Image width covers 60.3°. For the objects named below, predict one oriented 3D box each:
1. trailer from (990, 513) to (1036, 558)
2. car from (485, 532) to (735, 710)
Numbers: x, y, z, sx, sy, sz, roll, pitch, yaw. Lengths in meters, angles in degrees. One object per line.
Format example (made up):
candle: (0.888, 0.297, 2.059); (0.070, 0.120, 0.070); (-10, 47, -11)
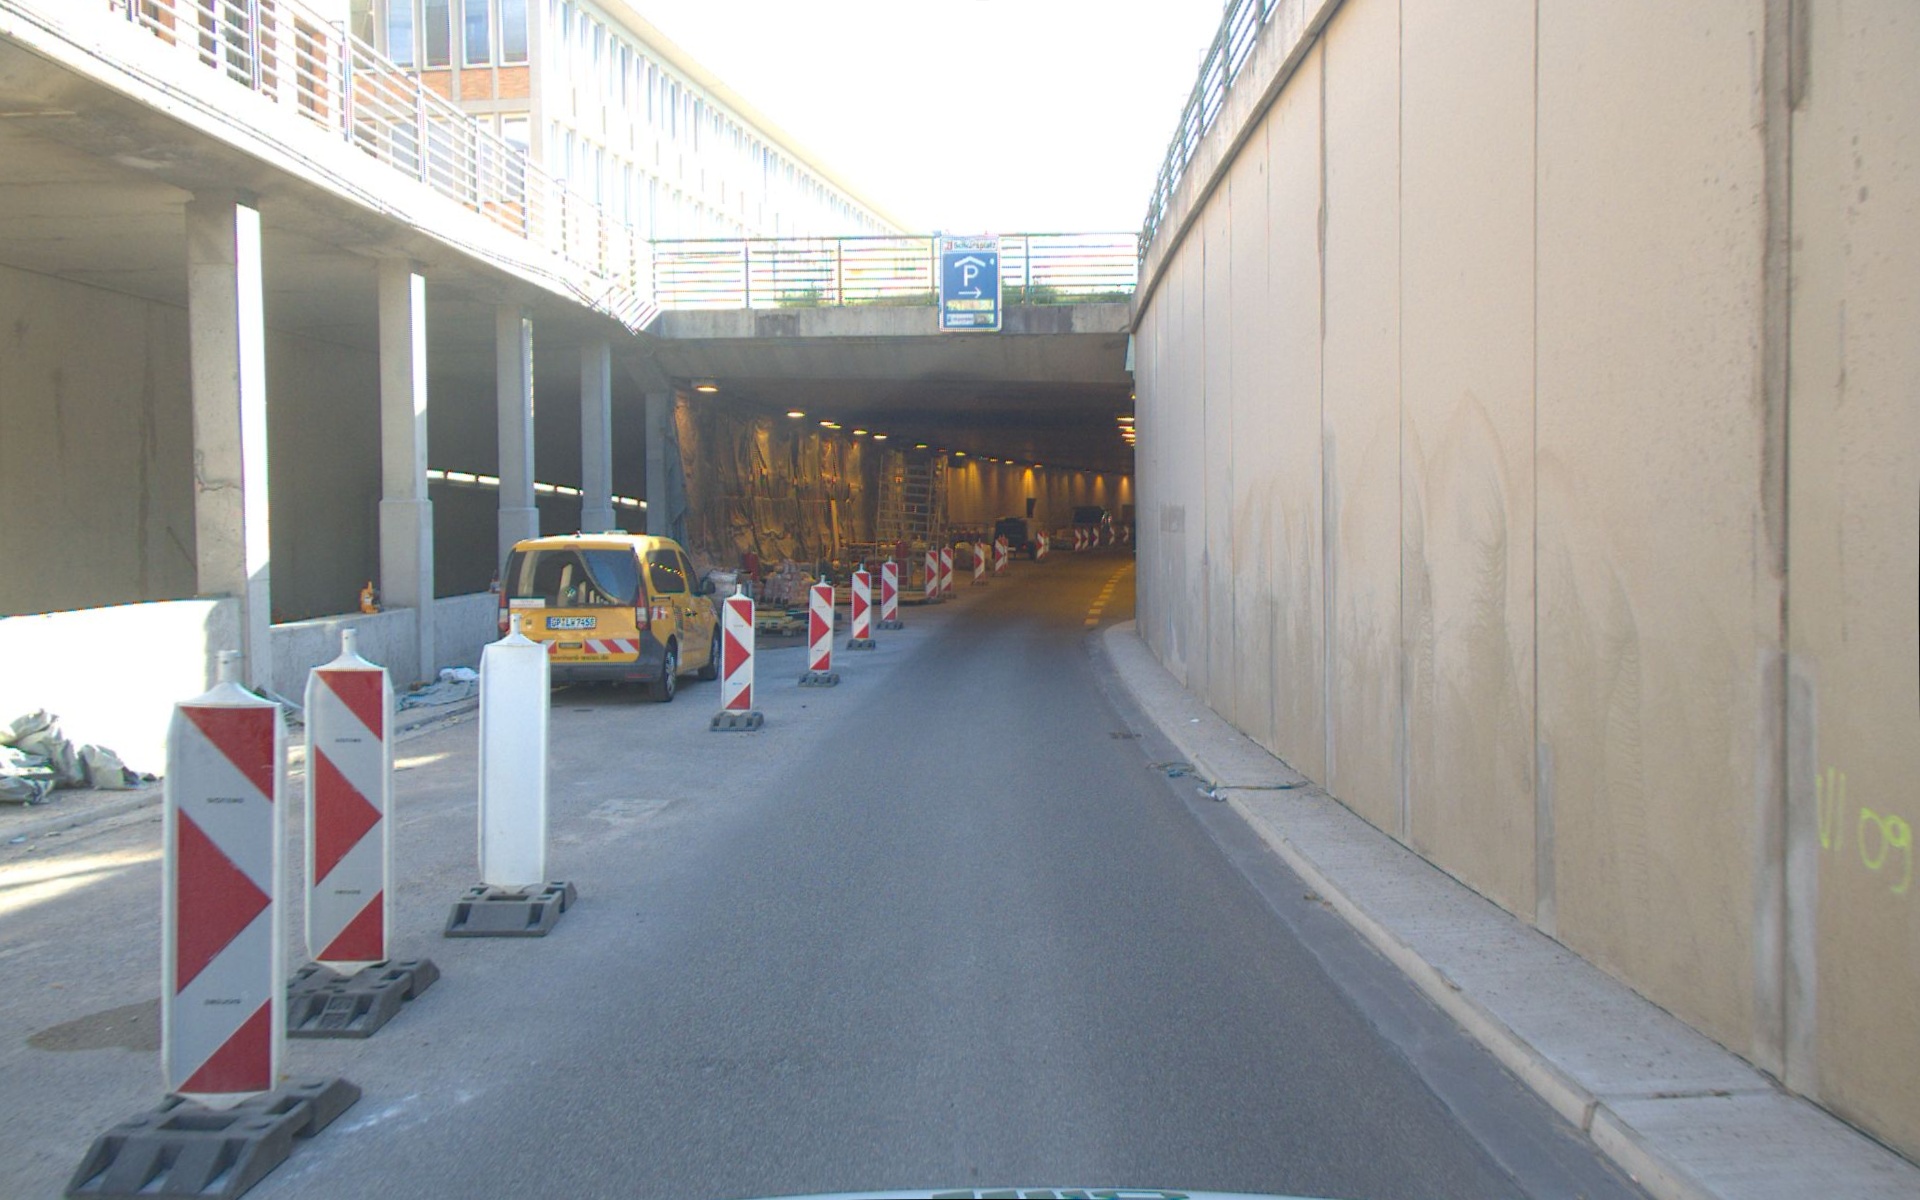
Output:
trailer: (2.262, -2.746, 69.638); (1.547, 1.829, 2.943); (1, 3, 9)
car: (-3.886, 0.126, 19.164); (1.809, 1.806, 4.437); (0, 2, 2)
